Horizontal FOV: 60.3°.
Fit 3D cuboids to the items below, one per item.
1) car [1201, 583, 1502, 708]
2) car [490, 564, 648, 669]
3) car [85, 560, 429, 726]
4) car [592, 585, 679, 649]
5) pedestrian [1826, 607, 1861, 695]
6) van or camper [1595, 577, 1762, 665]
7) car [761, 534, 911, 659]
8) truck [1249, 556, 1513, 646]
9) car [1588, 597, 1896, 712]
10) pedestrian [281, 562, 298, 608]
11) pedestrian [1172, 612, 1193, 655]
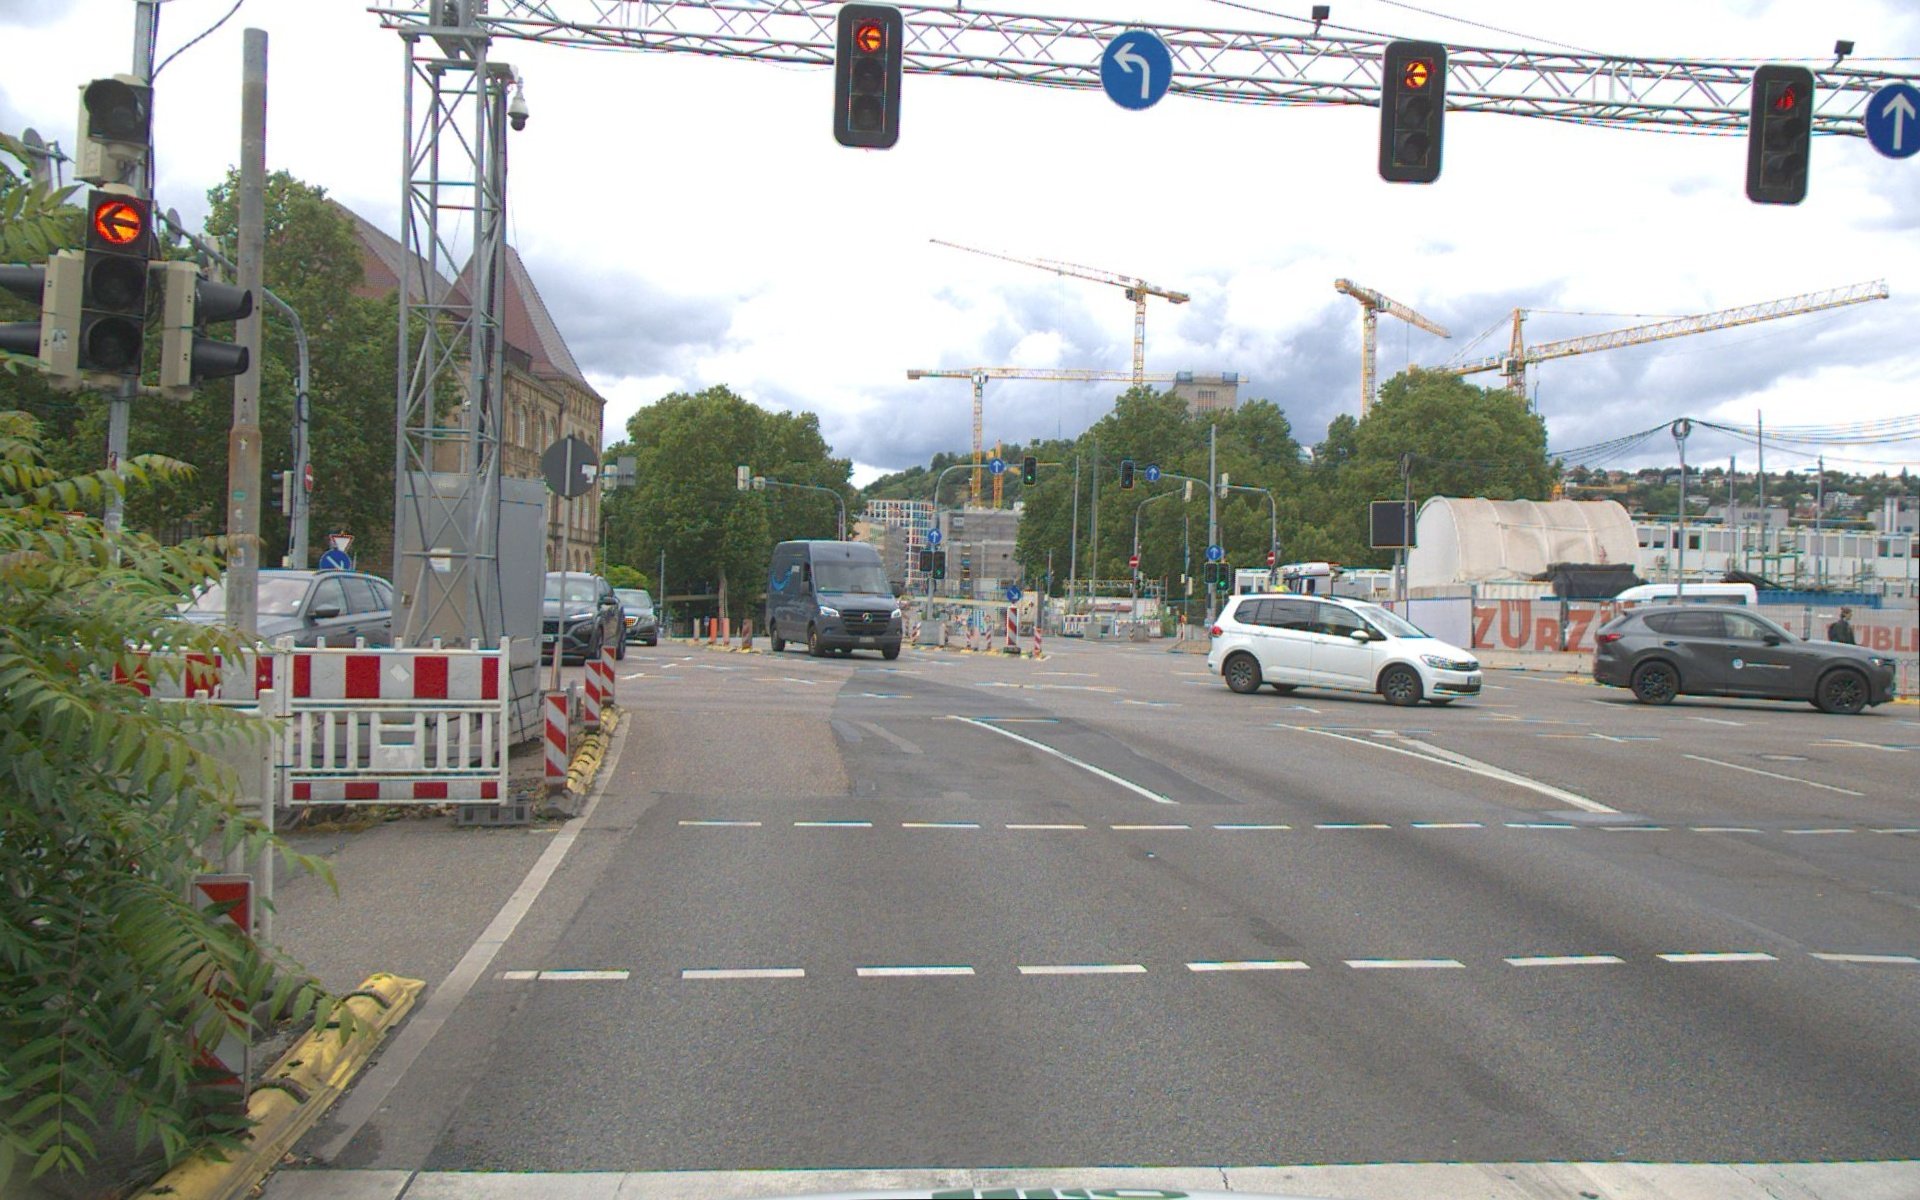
[{"bbox_3d":[6.287,0.672,26.815,4.361,1.766,1.874,2,1,40],"label":"car"},{"bbox_3d":[-6.878,0.251,29.572,1.840,1.699,4.443,2,0,-2],"label":"car"},{"bbox_3d":[-7.269,0.378,17.648,1.840,1.498,4.443,2,1,-2],"label":"car"},{"bbox_3d":[-8.473,0.412,43.505,1.673,1.540,4.285,1,0,-4],"label":"car"},{"bbox_3d":[20.748,1.187,38.849,0.638,2.049,0.517,1,0,24],"label":"pedestrian"},{"bbox_3d":[20.727,0.582,47.904,4.123,2.398,2.002,1,0,14],"label":"van or camper"},{"bbox_3d":[-2.980,-0.106,38.208,2.025,2.639,5.982,1,0,-18],"label":"car"},{"bbox_3d":[21.002,0.098,82.313,12.837,4.111,3.927,1,0,-21],"label":"truck"},{"bbox_3d":[13.084,0.863,28.003,4.499,1.699,1.884,2,0,20],"label":"car"},{"bbox_3d":[-29.532,-0.661,72.887,0.523,2.049,0.421,2,0,-44],"label":"pedestrian"},{"bbox_3d":[9.068,1.359,67.555,0.714,1.718,0.677,2,0,-1],"label":"pedestrian"}]
